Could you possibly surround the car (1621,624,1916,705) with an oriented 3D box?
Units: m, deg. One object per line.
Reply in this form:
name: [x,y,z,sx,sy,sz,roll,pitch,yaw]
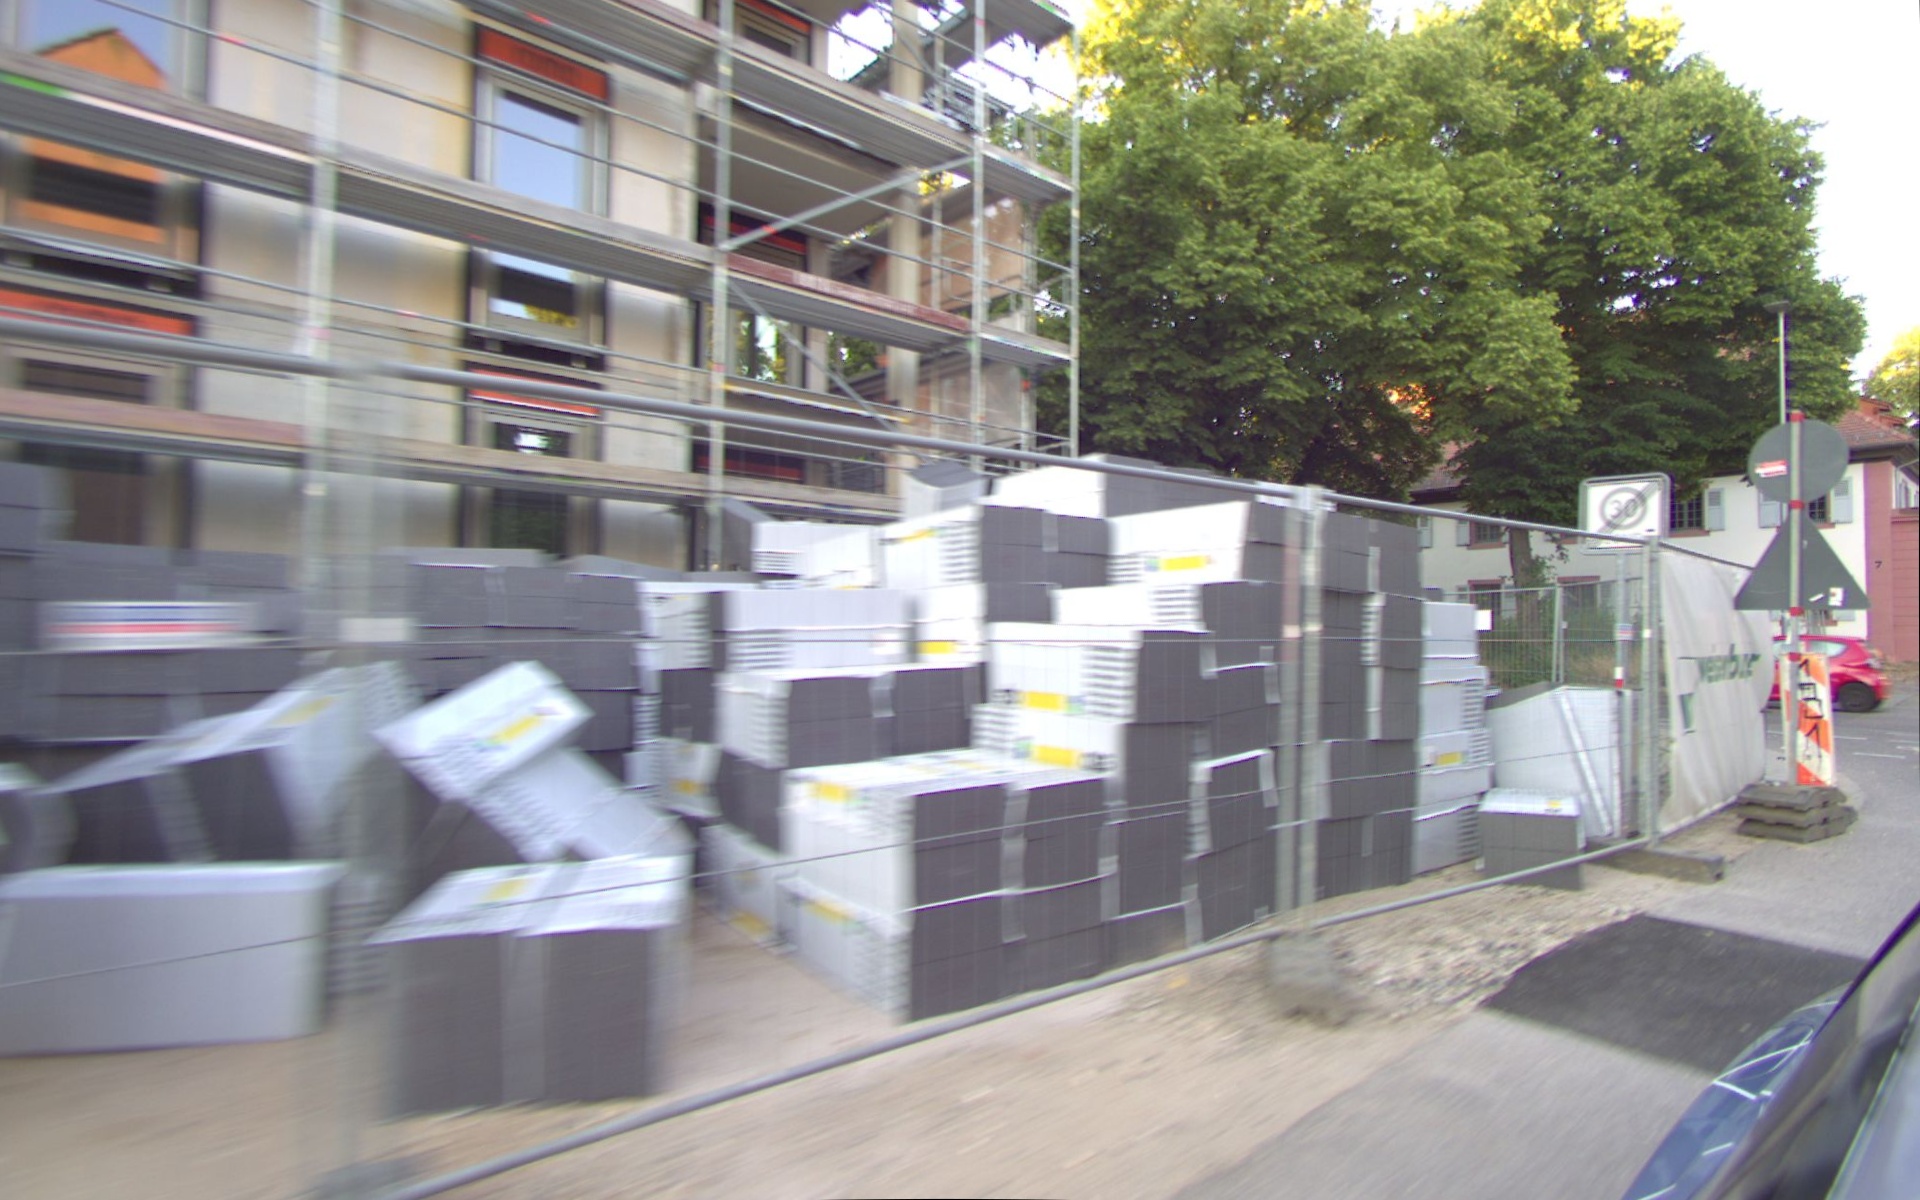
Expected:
car: [16.058,1.242,20.305,1.591,1.431,4.401,3,-4,-42]
